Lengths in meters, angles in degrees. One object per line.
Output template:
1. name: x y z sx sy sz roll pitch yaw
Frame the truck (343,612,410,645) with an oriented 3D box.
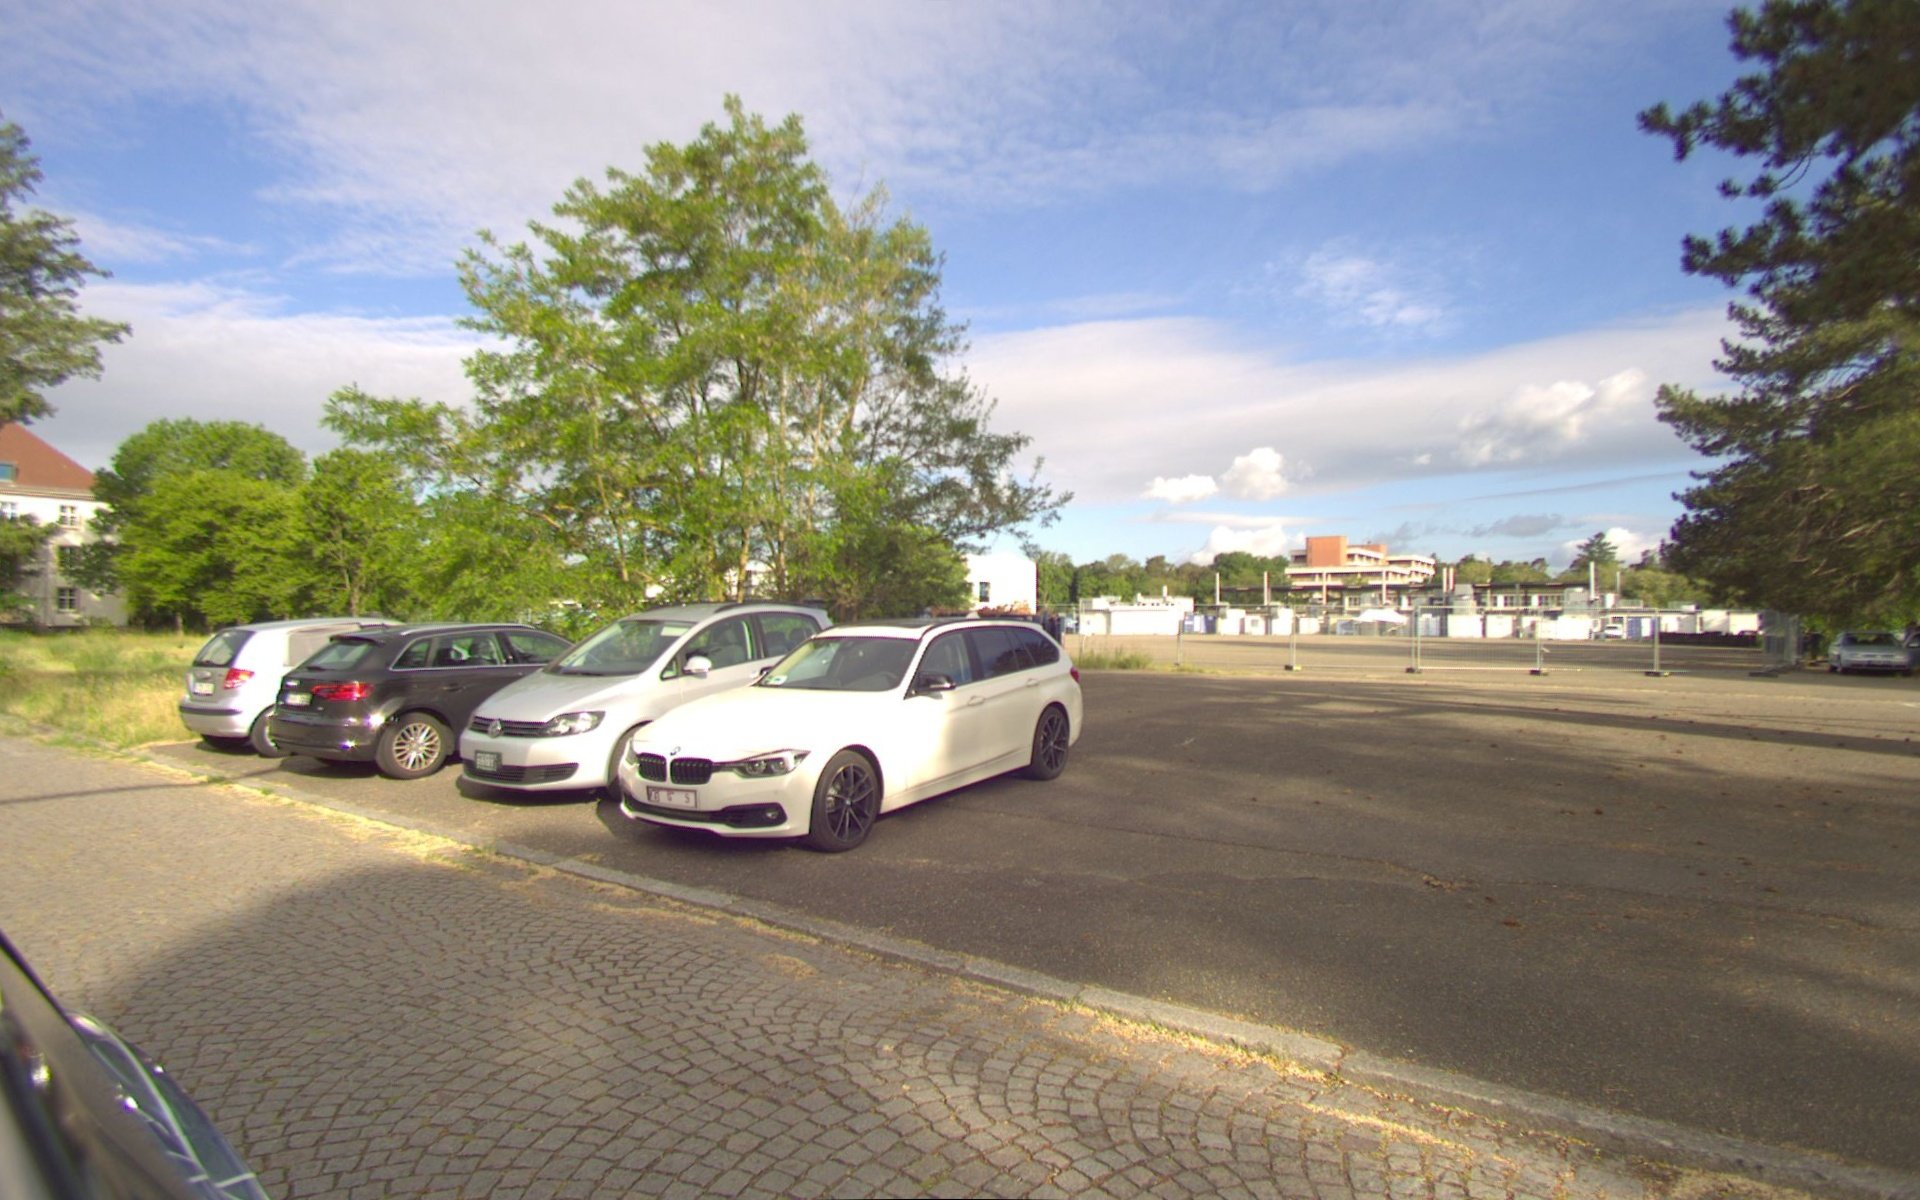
1. truck: -47.189 2.319 81.787 6.950 2.607 2.388 -1 -2 39

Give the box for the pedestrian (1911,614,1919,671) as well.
1. pedestrian: 30.203 1.318 31.107 1.082 1.758 0.877 0 -1 6

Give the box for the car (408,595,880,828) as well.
1. car: -2.723 0.815 9.665 1.852 1.611 4.091 0 1 31

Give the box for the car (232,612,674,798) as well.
1. car: -5.200 0.931 10.828 1.855 1.440 3.796 0 2 35

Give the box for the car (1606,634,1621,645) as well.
1. car: 98.977 5.984 153.344 1.850 1.685 4.153 0 -1 32

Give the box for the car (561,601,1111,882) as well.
1. car: -0.636 0.842 8.220 1.898 1.466 4.550 -2 0 34

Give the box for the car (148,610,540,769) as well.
1. car: -7.348 0.939 12.381 1.845 1.484 3.652 0 2 34

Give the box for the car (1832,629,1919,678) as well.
1. car: 28.931 1.636 32.074 1.662 1.392 3.950 0 -1 37
